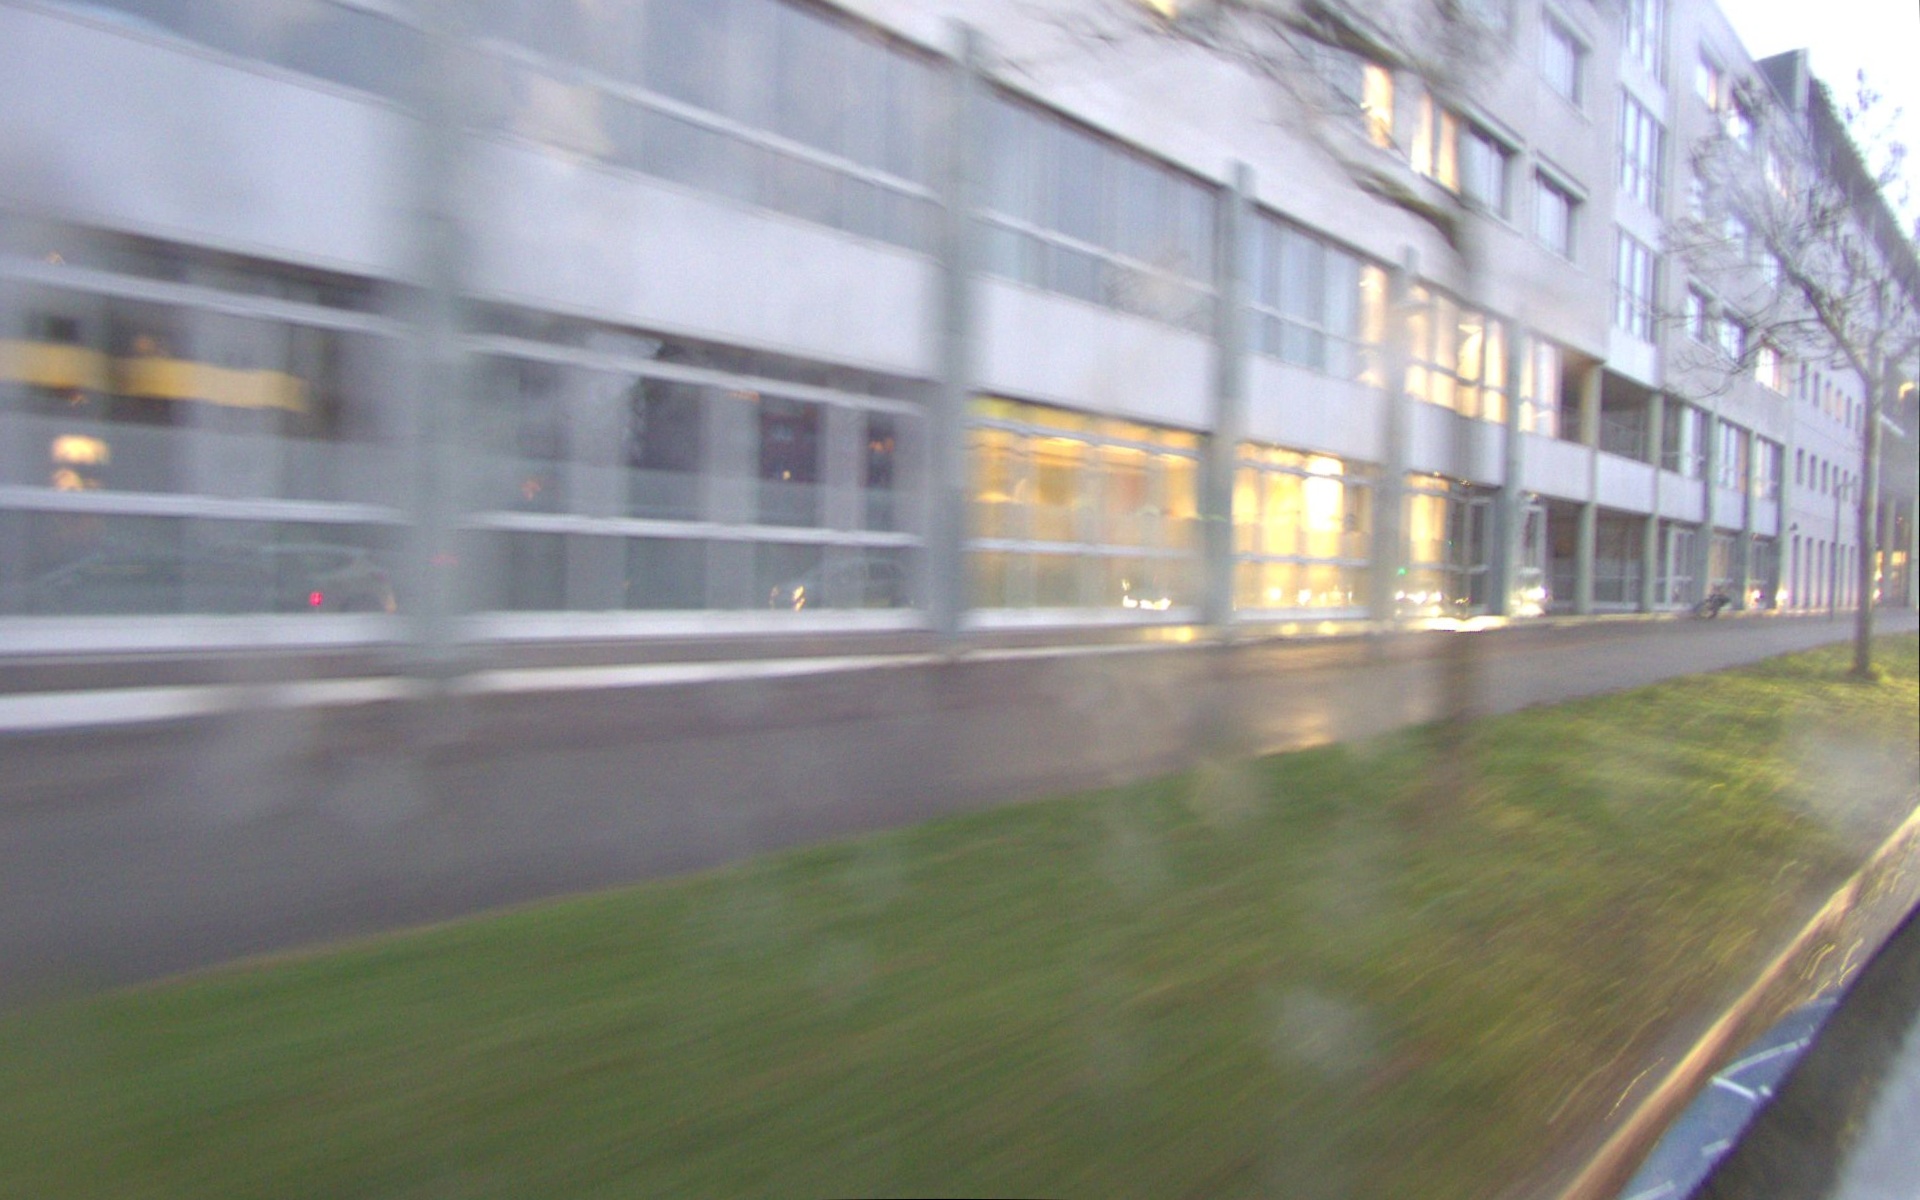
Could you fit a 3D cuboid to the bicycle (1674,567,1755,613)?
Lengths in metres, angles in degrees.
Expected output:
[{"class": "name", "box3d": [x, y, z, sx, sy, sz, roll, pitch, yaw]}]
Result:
[{"class": "bicycle", "box3d": [23.059, -0.302, 30.912, 2.406, 1.288, 0.827, 1, 5, -25]}]

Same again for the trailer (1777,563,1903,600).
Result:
[{"class": "trailer", "box3d": [50.624, -1.102, 58.333, 2.089, 1.935, 5.085, 2, 1, -35]}]
